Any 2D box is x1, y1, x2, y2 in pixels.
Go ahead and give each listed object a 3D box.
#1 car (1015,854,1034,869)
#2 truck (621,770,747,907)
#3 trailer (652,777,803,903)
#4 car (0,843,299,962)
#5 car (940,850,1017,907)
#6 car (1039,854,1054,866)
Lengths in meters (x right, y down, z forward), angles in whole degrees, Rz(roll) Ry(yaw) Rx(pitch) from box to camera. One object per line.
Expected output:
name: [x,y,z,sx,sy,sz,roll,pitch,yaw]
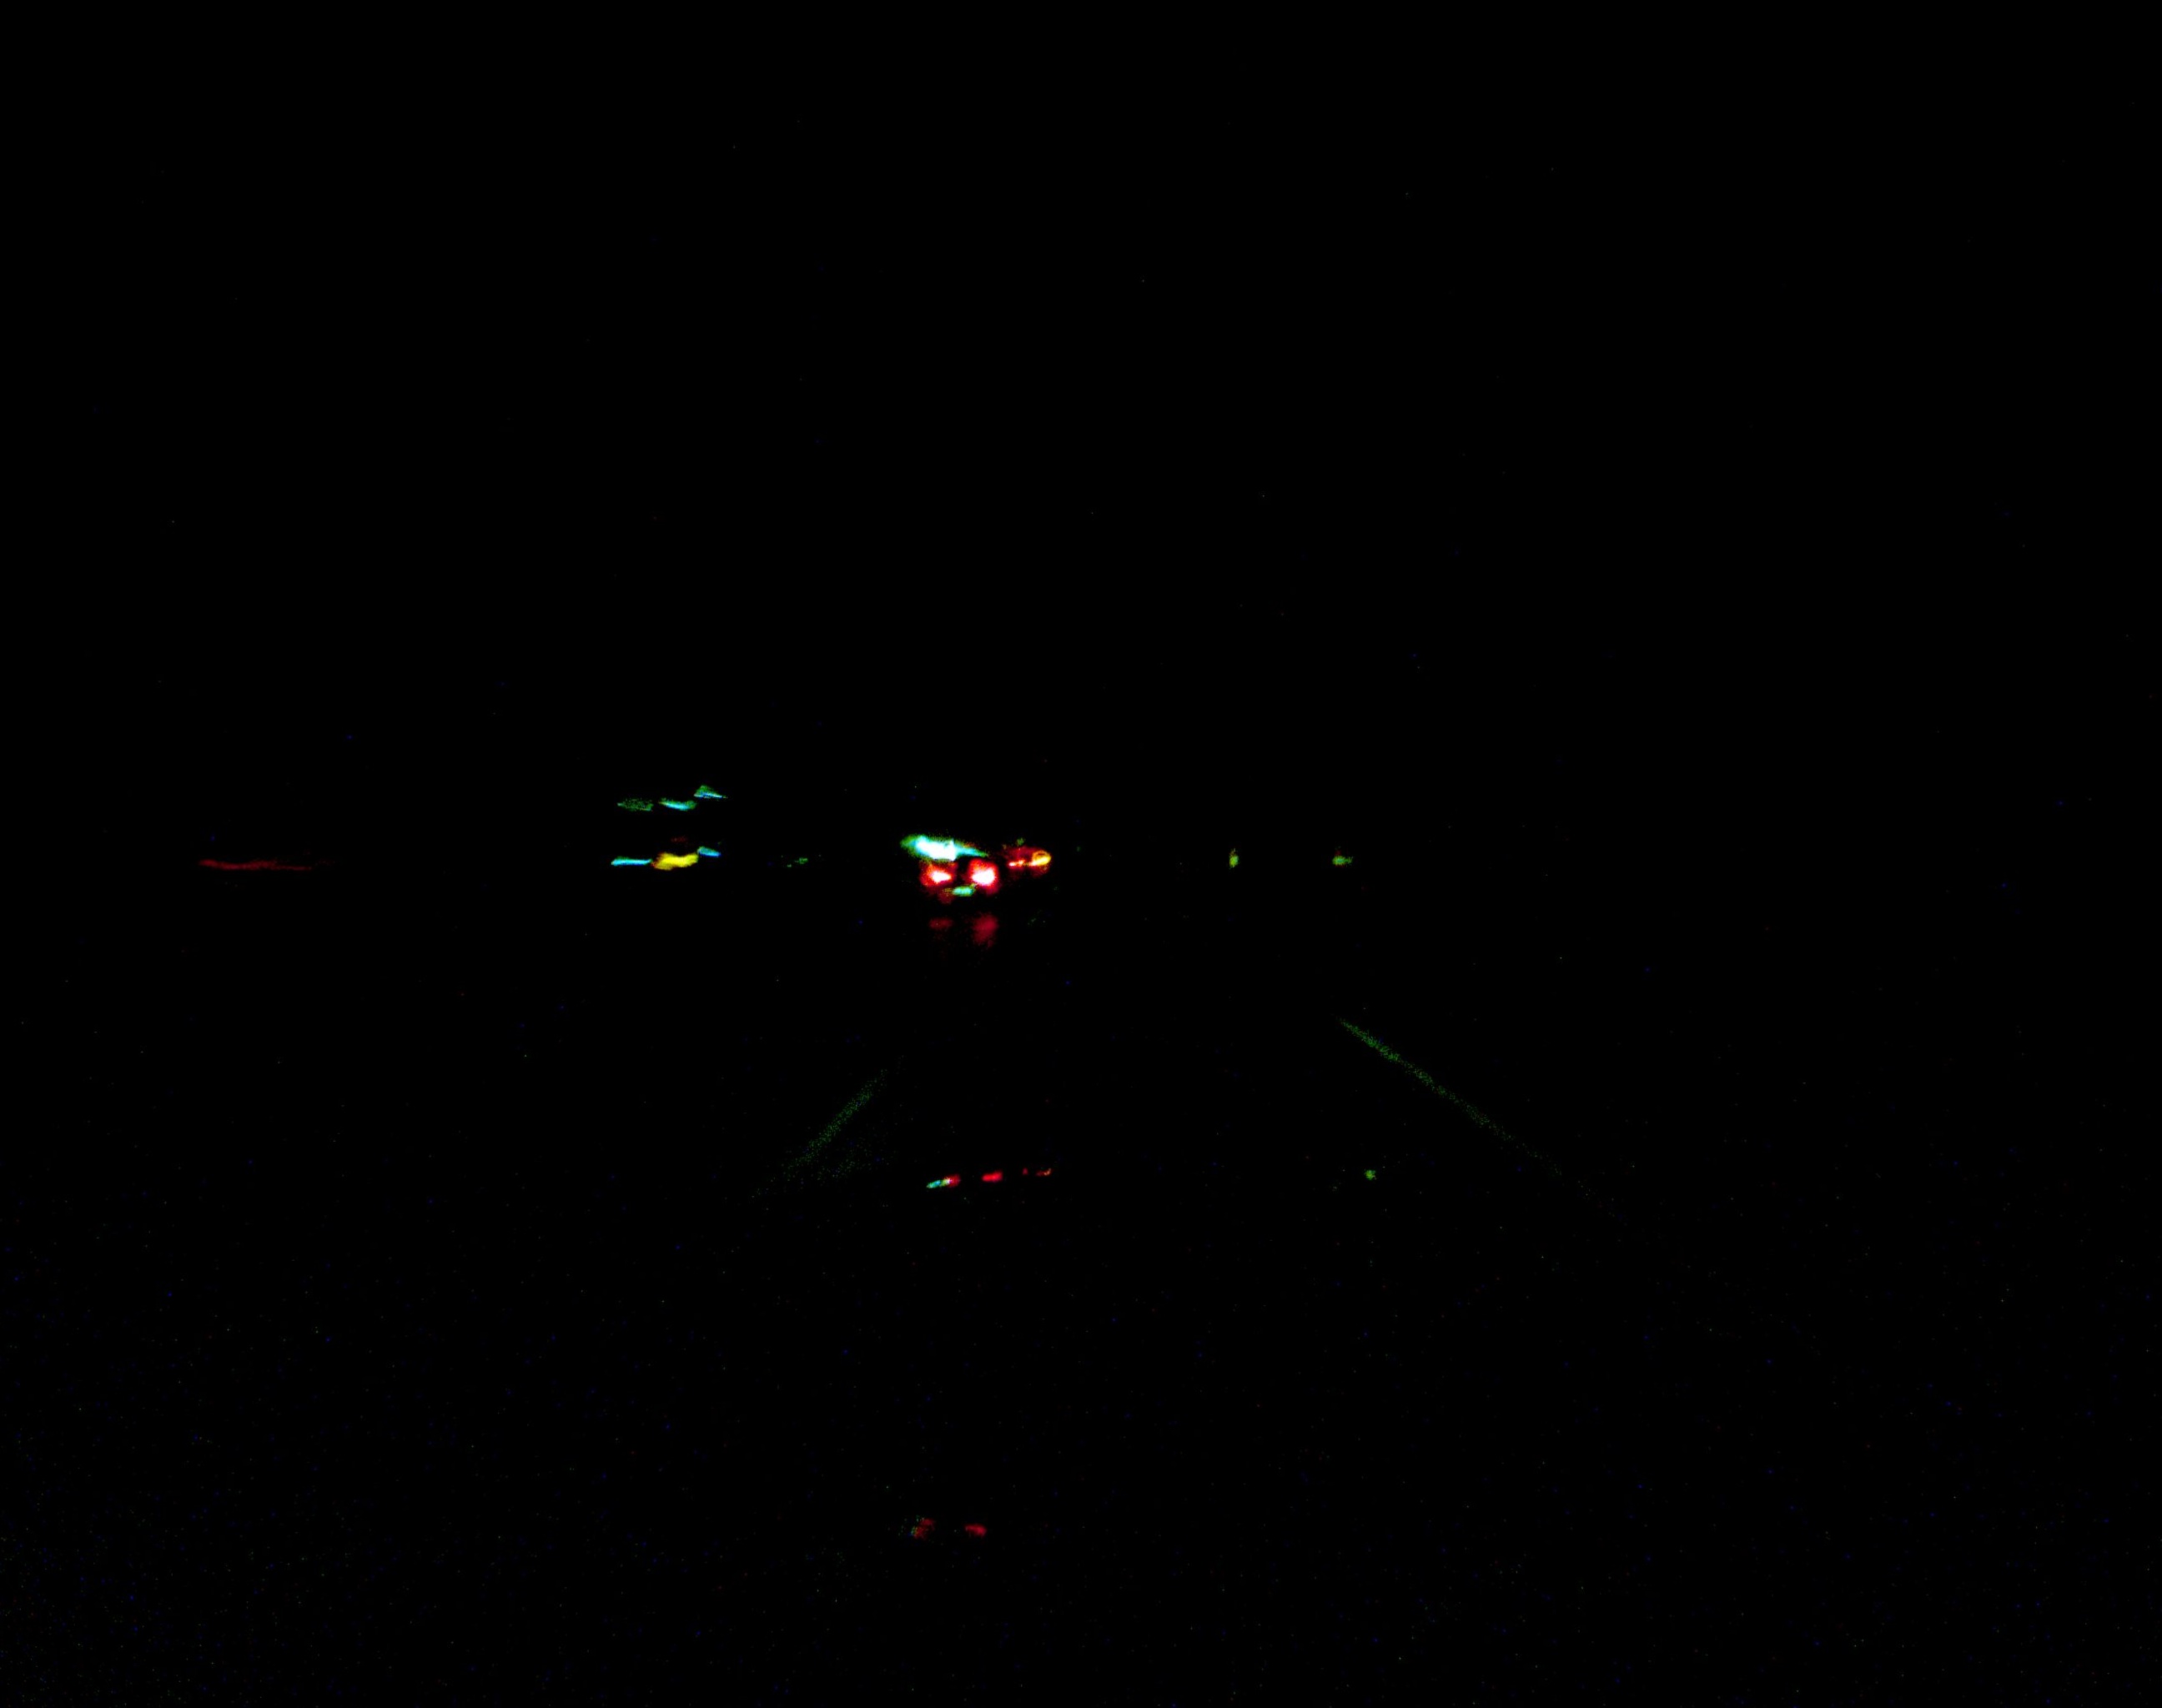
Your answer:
car: [-5.058,0.678,72.719,1.660,1.236,3.754,0,-1,-6]
truck: [-18.550,-0.664,38.613,2.897,5.895,6.870,0,-1,-3]
trailer: [-18.887,-0.609,45.066,2.902,5.895,14.154,0,-1,-3]
car: [-15.555,0.687,13.285,1.773,1.648,3.866,-1,0,2]
car: [-3.119,0.706,25.687,1.853,1.540,4.748,3,0,-1]
car: [-4.231,0.750,99.875,1.797,1.487,3.997,0,0,-2]
